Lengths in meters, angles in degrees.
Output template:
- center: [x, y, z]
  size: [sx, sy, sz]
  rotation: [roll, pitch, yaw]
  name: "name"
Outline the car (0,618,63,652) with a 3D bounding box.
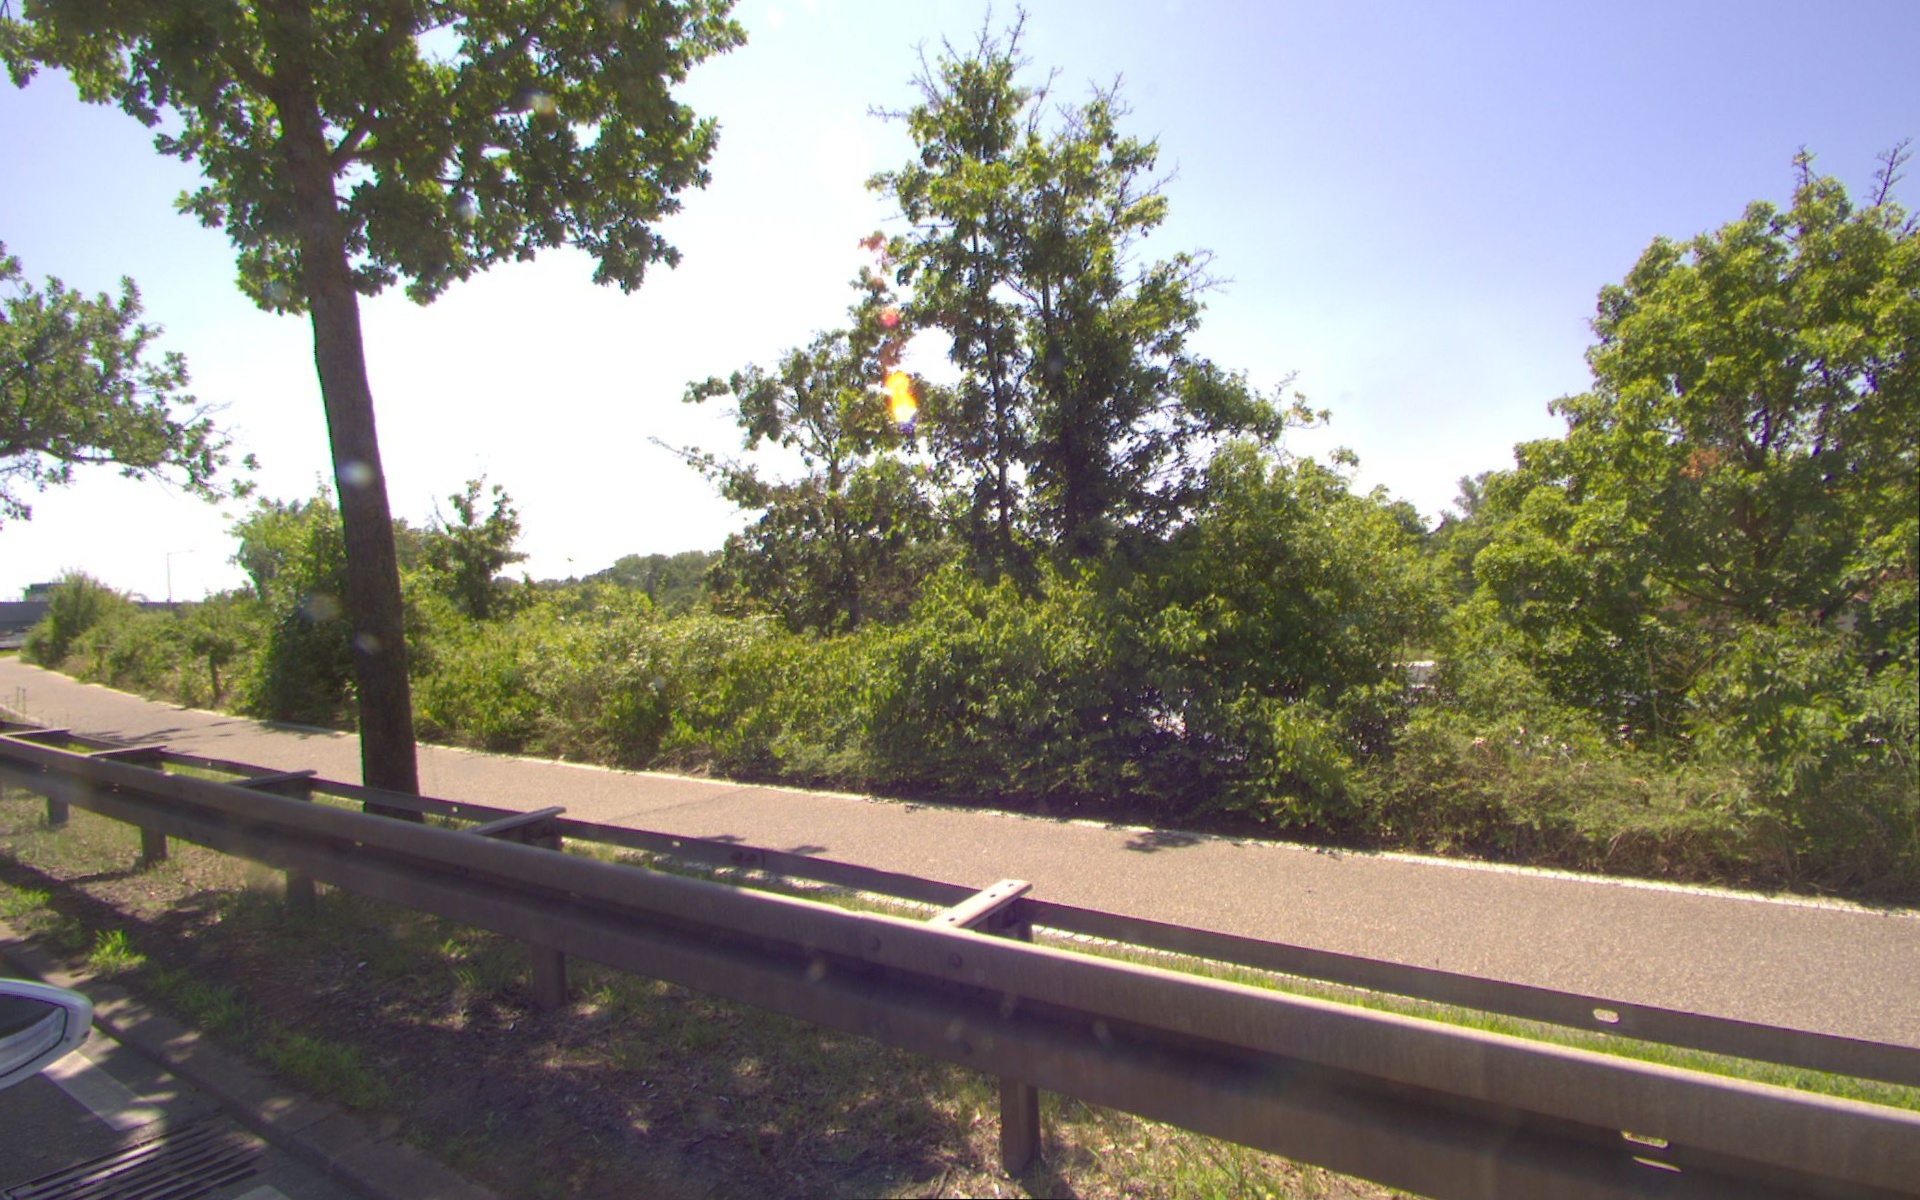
- center: [-52.933, 1.978, 56.902]
  size: [1.972, 1.831, 4.820]
  rotation: [1, -2, -31]
  name: "car"
